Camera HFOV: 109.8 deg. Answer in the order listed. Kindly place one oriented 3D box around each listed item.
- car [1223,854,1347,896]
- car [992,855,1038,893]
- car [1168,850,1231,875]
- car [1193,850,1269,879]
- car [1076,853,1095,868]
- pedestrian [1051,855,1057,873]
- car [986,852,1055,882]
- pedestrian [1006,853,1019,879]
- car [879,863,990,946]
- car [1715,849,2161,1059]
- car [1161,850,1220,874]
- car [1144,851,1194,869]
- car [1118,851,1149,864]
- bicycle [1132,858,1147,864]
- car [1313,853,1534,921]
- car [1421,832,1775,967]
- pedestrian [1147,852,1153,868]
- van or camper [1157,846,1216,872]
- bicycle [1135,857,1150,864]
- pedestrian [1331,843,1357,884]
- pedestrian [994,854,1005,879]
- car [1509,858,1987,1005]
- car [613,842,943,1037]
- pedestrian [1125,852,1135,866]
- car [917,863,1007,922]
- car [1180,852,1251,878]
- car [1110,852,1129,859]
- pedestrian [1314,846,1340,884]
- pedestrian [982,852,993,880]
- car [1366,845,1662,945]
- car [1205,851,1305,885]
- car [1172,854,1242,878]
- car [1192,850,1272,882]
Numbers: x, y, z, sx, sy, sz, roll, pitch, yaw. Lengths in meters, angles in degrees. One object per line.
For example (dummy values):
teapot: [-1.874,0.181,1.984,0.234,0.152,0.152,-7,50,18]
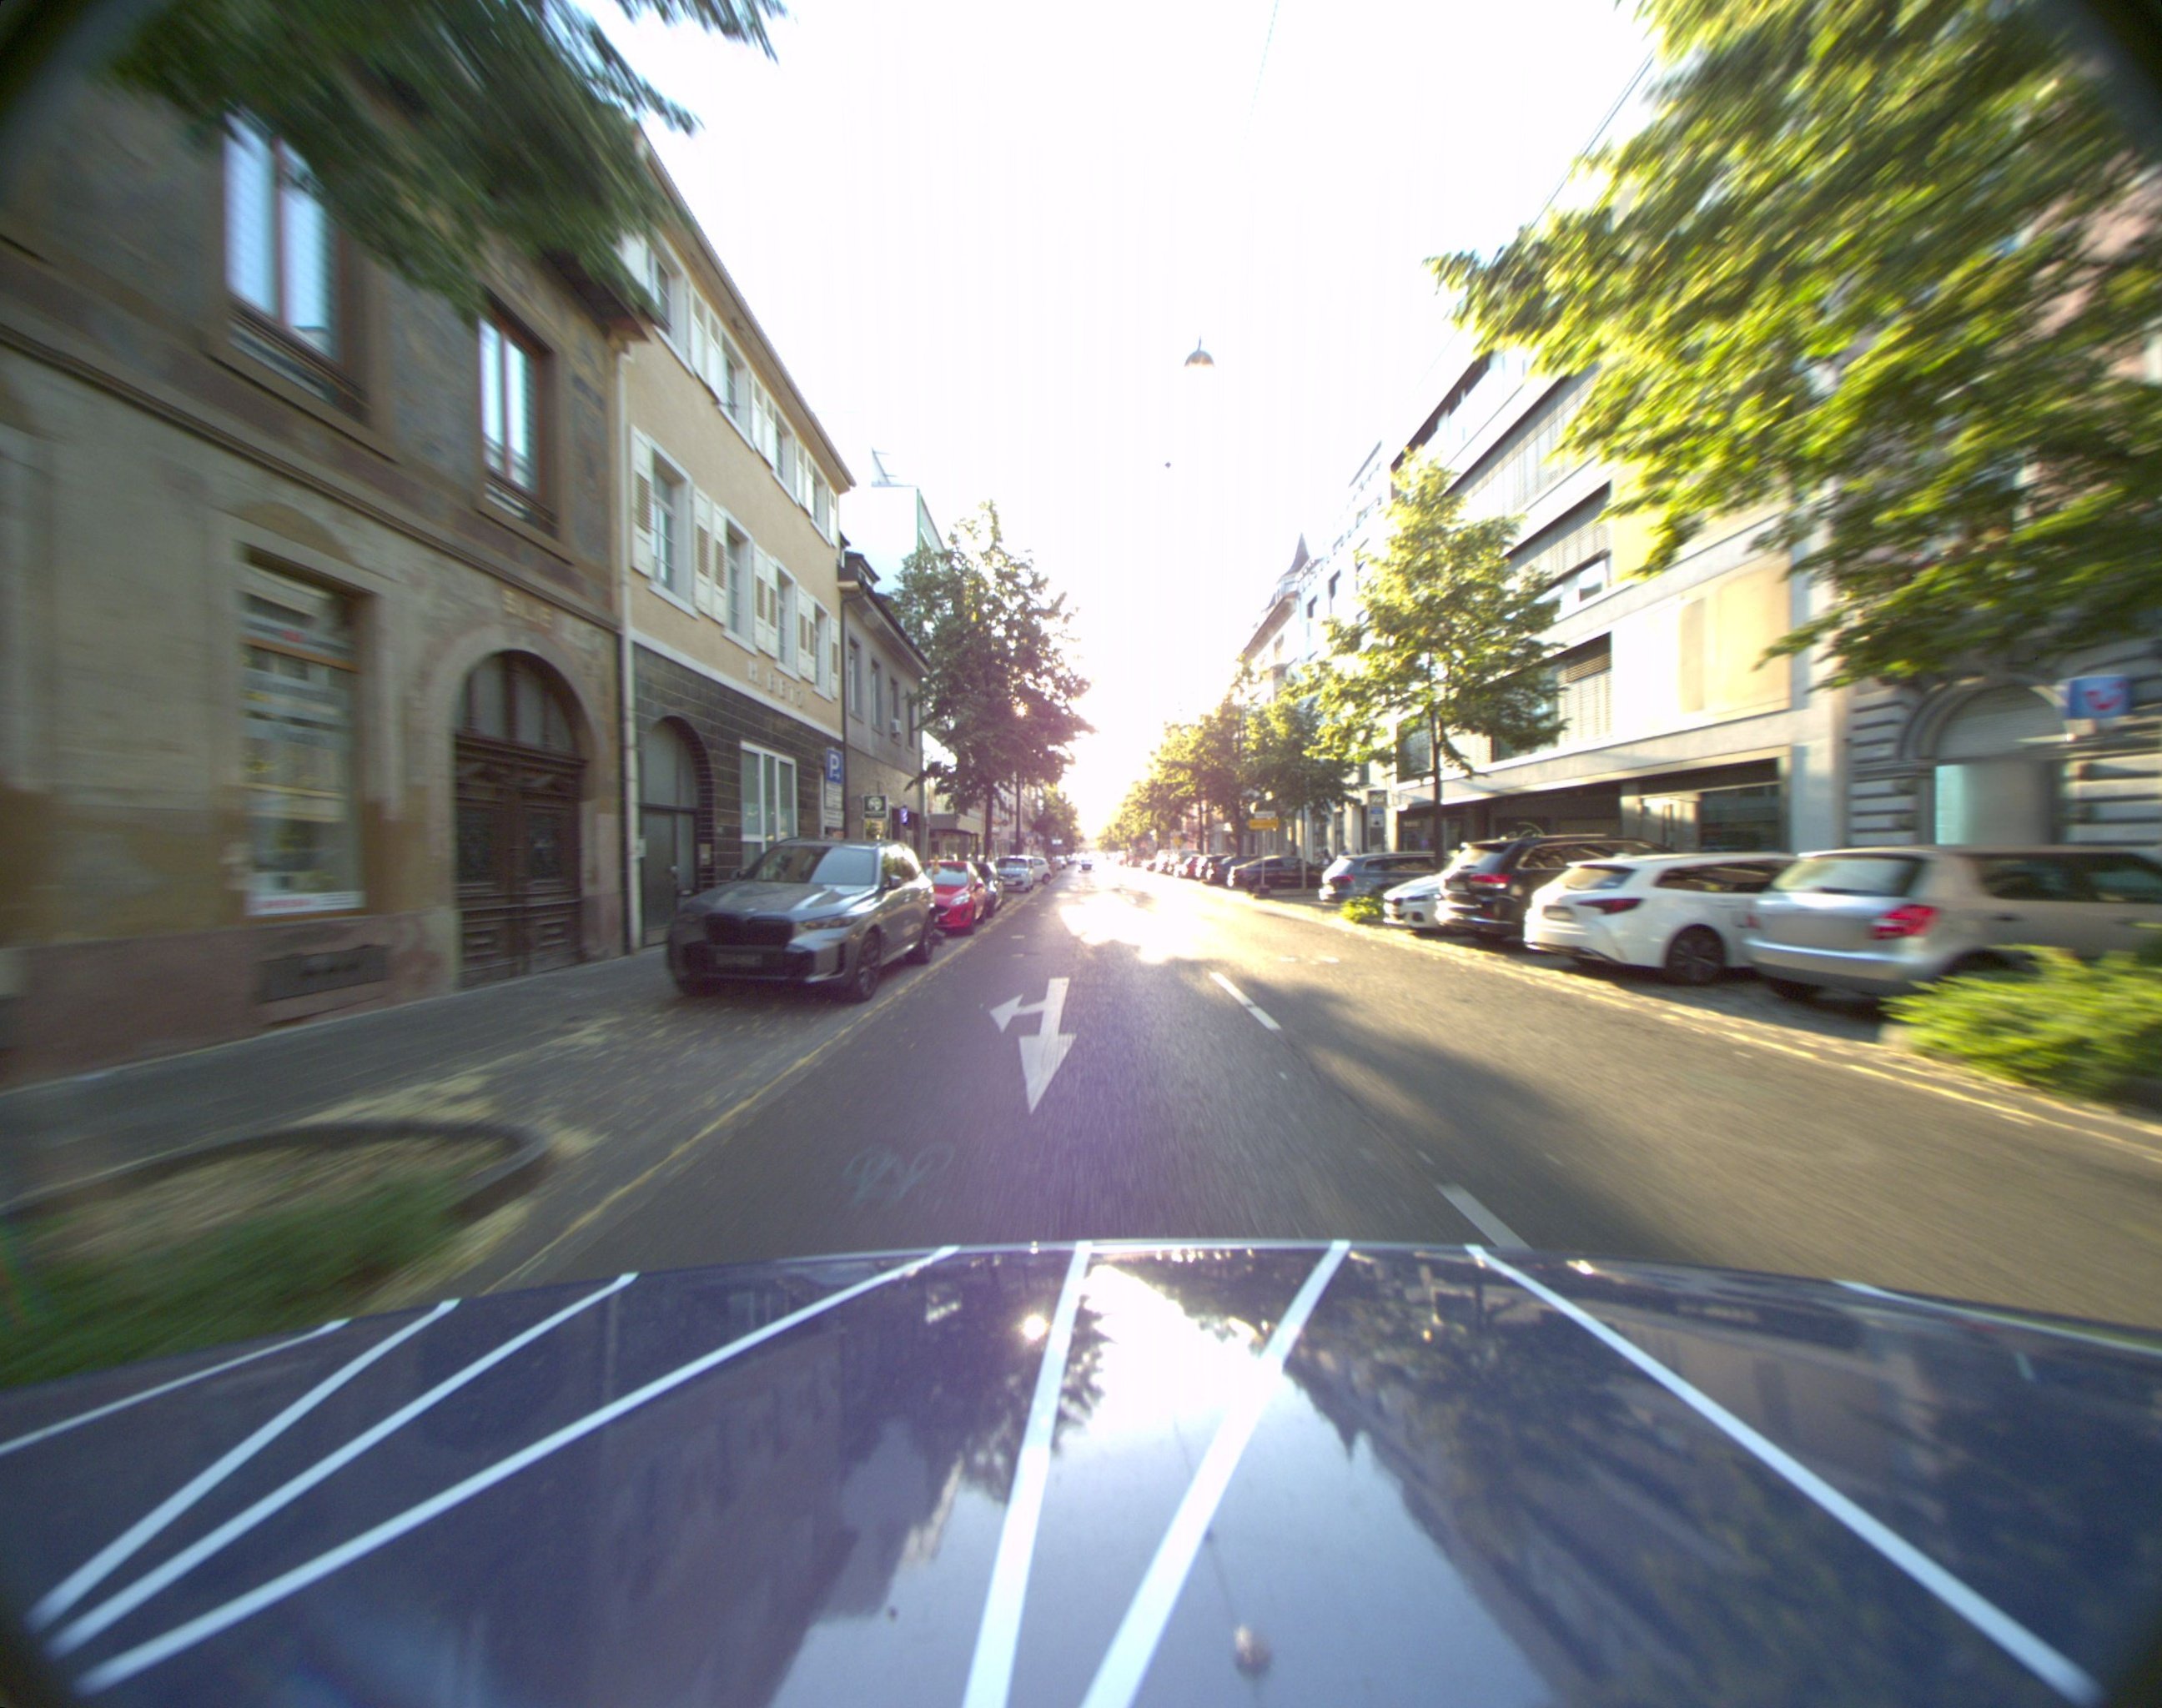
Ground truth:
car: [7.797,0.771,29.337,4.285,1.475,1.744,-1,0,1]
car: [-2.878,0.843,33.548,1.695,1.534,3.552,1,0,0]
car: [8.141,0.587,52.434,4.192,1.528,1.745,-2,1,6]
car: [8.462,0.587,43.080,3.876,1.558,1.744,-1,0,-2]
car: [0.509,0.645,76.445,1.825,1.469,4.155,-1,1,1]
pedestrian: [-2.266,0.816,63.096,0.448,1.472,0.563,1,1,1]
car: [-3.276,0.726,41.873,1.661,1.574,3.632,0,-1,41]
pedestrian: [-4.333,0.777,48.181,0.748,1.622,0.855,-1,1,0]
car: [-2.973,0.970,16.222,1.734,1.479,3.899,1,0,-2]
car: [8.089,0.763,6.698,3.565,1.493,1.715,-2,1,-1]
car: [8.199,0.594,57.070,4.193,1.659,1.732,-1,1,2]
car: [8.155,0.534,70.626,4.439,1.516,1.814,-2,0,-1]
car: [7.687,0.506,111.604,4.439,1.832,1.814,-2,0,-1]
bicycle: [7.273,0.843,94.828,1.796,0.761,0.408,-1,1,13]
car: [8.173,0.764,18.435,4.559,1.475,1.744,-1,0,0]
car: [7.741,0.630,11.663,4.160,1.762,1.889,-2,1,-2]
pedestrian: [7.085,0.647,77.705,0.550,1.638,0.721,-1,1,3]
van or camper: [8.317,0.357,60.204,4.469,1.945,1.789,-1,0,2]
bicycle: [7.780,0.807,95.836,1.796,0.761,0.408,-1,1,13]
pedestrian: [11.544,0.428,33.351,0.721,1.739,0.933,-3,1,1]
pedestrian: [-5.195,0.795,48.363,0.607,1.622,0.668,-1,1,0]
car: [7.650,0.825,8.999,4.160,1.413,1.766,-2,0,-2]
car: [-3.190,0.782,9.275,2.043,1.727,4.711,1,0,1]
pedestrian: [5.982,0.566,92.941,0.898,1.671,0.795,-1,1,-36]
car: [-3.202,0.993,21.252,1.957,1.382,4.423,1,0,-2]
car: [8.057,0.634,45.664,3.876,1.448,1.744,-1,0,-2]
car: [8.574,0.412,170.733,4.151,1.469,1.827,-1,0,1]
pedestrian: [10.845,0.480,33.473,0.721,1.593,1.094,-3,1,1]
pedestrian: [-5.933,0.766,48.183,0.607,1.728,0.668,-1,1,0]
car: [7.892,0.721,14.165,4.417,1.586,1.890,-2,0,-1]
car: [8.207,0.655,36.071,4.286,1.475,1.744,-1,0,-2]
car: [7.932,0.748,47.958,4.052,1.378,1.744,-2,0,-3]
car: [8.022,0.640,40.616,3.876,1.558,1.744,-1,0,-2]
